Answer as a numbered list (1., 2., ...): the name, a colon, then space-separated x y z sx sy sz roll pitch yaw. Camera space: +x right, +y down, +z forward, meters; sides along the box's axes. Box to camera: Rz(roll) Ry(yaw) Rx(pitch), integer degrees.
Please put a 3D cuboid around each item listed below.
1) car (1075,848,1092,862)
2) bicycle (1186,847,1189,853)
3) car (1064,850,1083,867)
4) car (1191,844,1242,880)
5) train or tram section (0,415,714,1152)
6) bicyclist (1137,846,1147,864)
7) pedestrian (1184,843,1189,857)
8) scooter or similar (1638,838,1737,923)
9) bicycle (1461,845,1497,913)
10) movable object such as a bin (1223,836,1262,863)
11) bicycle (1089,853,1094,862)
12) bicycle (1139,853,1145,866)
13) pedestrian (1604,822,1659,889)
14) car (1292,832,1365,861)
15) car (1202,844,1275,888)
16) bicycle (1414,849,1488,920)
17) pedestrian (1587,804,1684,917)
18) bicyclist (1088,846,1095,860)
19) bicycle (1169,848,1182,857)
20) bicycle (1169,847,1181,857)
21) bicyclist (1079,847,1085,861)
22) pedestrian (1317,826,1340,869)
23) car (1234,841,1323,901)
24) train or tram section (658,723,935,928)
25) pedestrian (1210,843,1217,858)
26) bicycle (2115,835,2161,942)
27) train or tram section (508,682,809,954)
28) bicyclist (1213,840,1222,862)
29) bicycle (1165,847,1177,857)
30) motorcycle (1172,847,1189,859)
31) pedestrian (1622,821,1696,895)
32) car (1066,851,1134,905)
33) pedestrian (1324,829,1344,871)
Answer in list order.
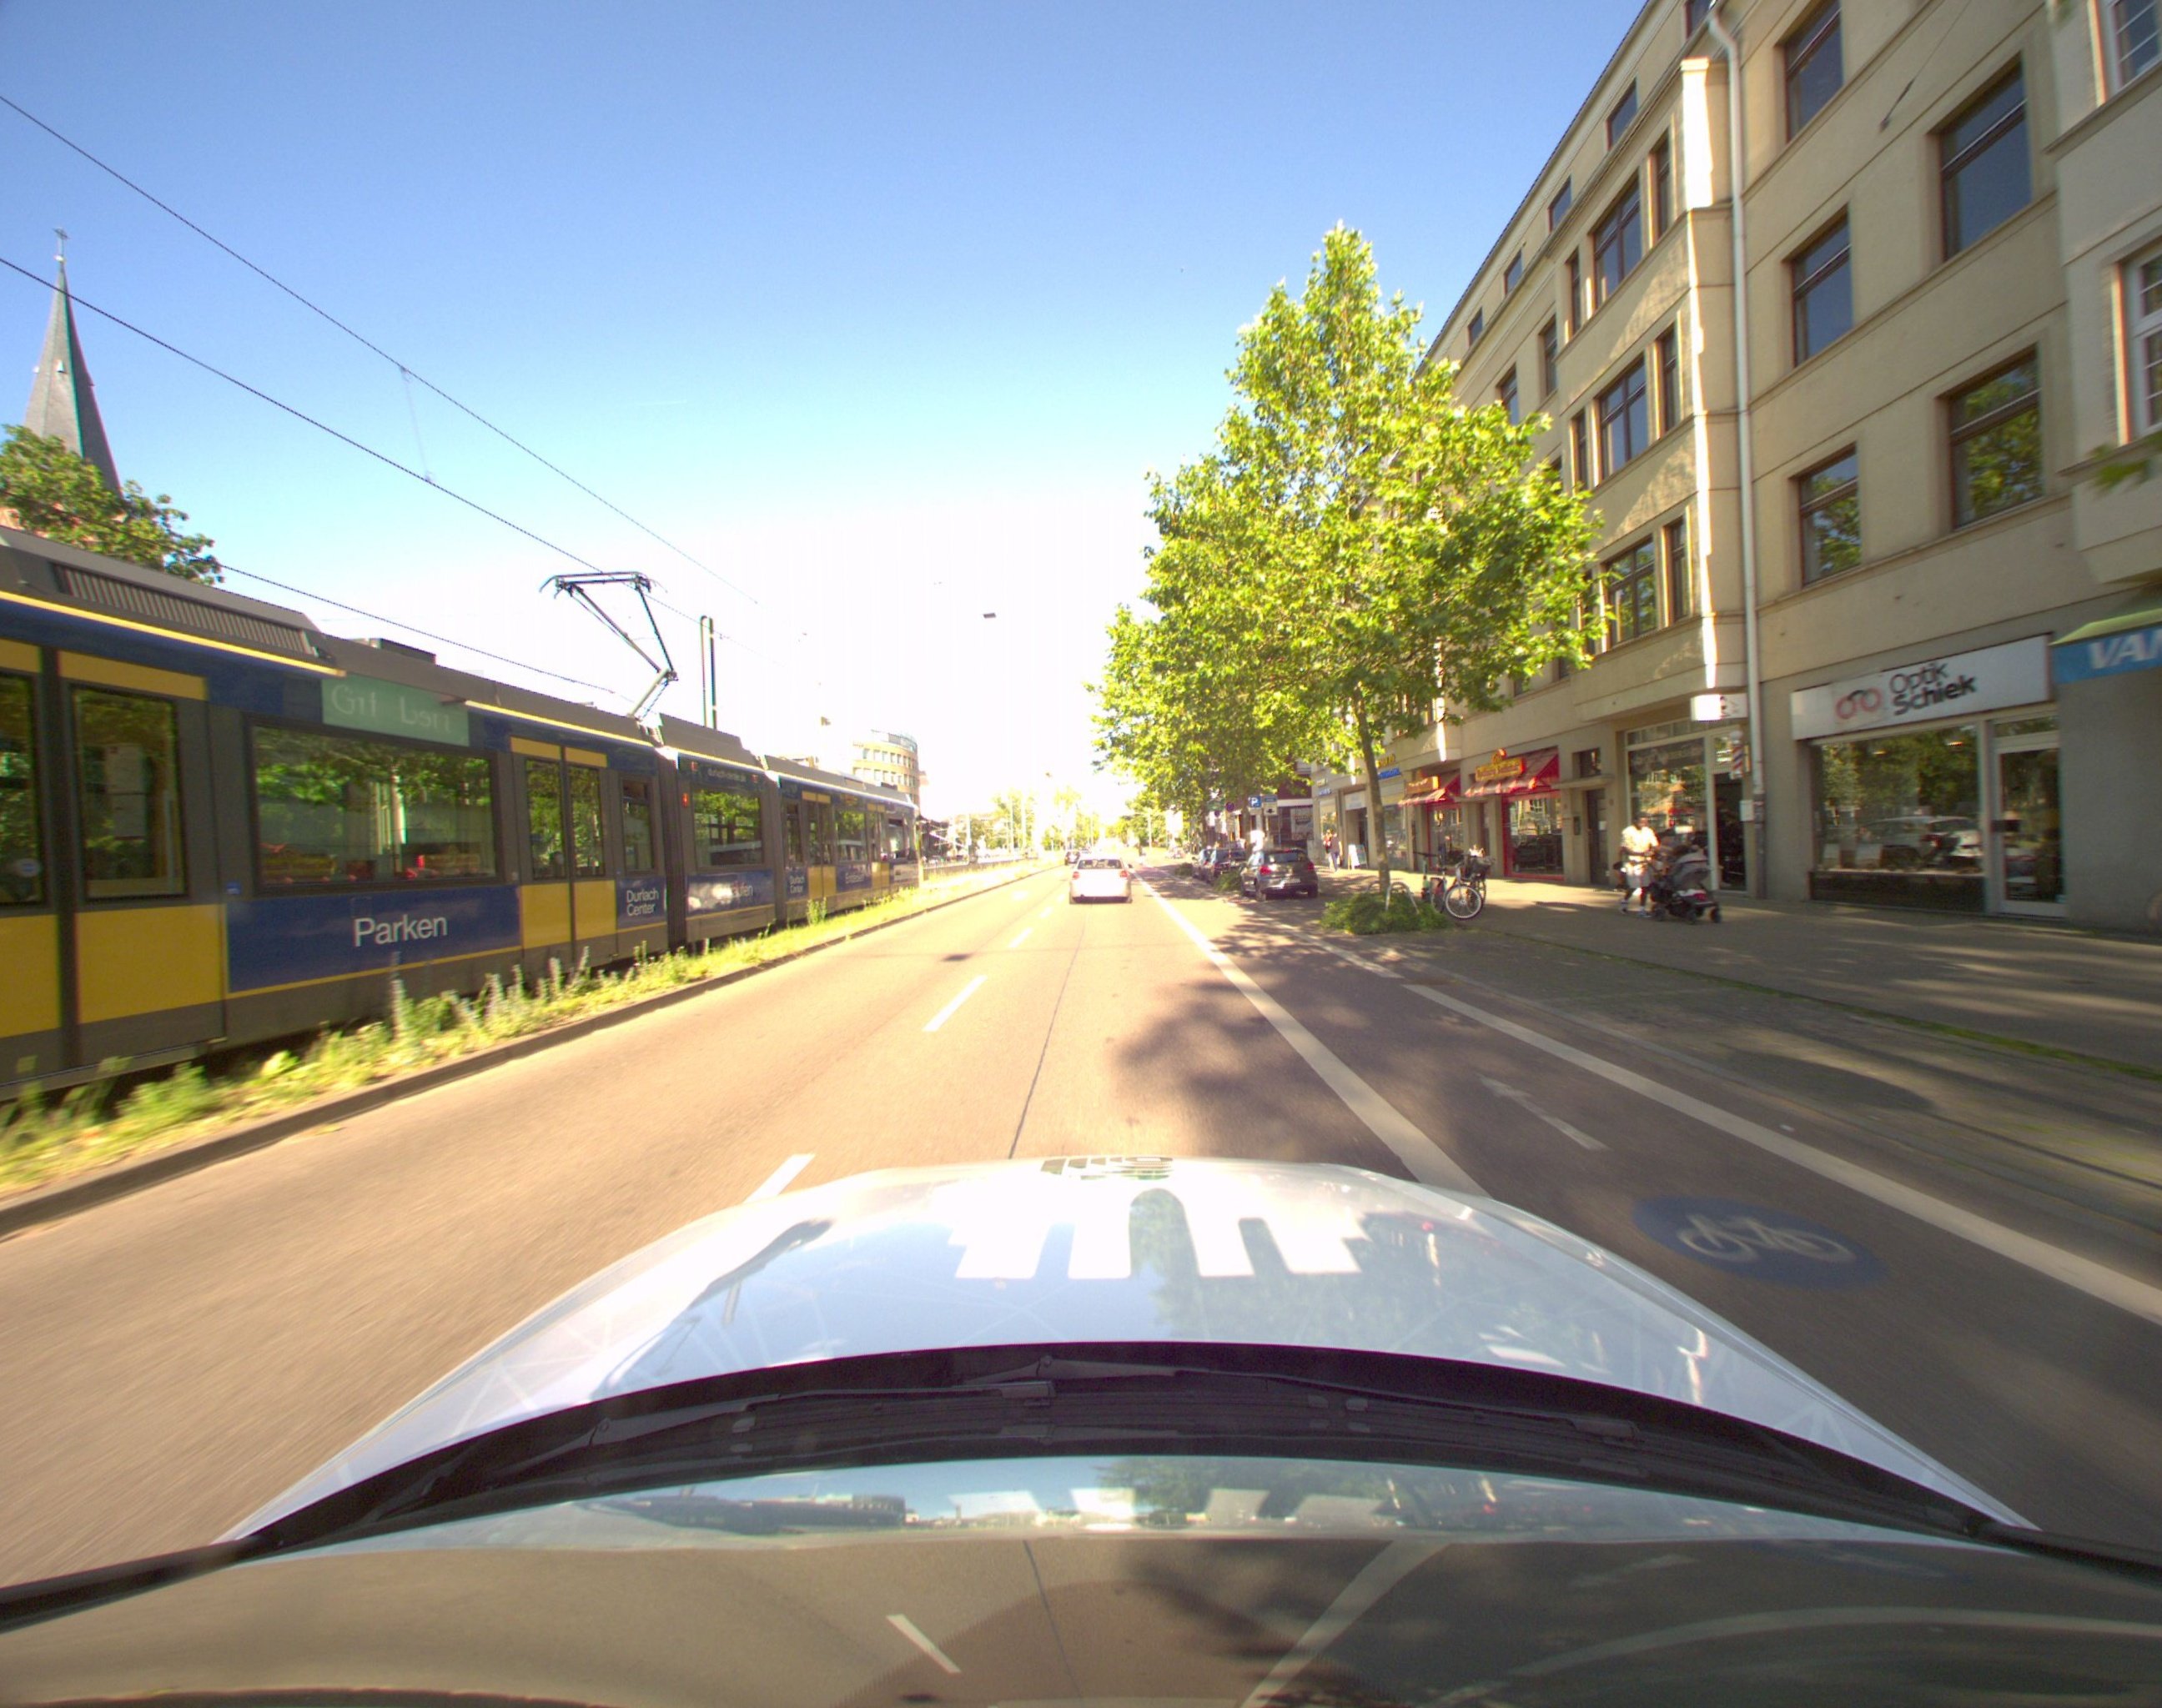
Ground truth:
1. car: 0.304 0.119 87.734 1.638 1.421 4.002 -1 0 2
2. bicycle: 19.391 -0.677 148.020 0.415 1.008 1.945 -1 0 1
3. car: -0.706 0.424 79.613 1.721 1.470 4.409 -2 0 -1
4. car: 6.426 0.350 39.048 1.782 1.555 4.438 -2 0 2
5. train or tram section: -7.029 -0.355 4.637 2.917 3.812 14.280 -1 0 2
6. bicyclist: 5.496 0.081 73.239 0.782 1.531 0.895 -1 0 2
7. pedestrian: 15.815 -0.559 121.997 0.786 2.013 0.872 -1 0 9
8. scooter or similar: 8.984 0.376 12.094 0.742 1.171 0.849 -5 0 -1
9. bicycle: 7.715 0.454 15.821 0.382 1.207 1.883 -3 0 20
10. movable object such as a bin: 11.960 -0.353 60.497 1.941 1.843 3.476 -3 1 -4
11. bicycle: 1.175 0.406 93.217 0.338 1.056 1.774 -2 0 -8
12. bicycle: 5.476 0.488 73.137 0.497 1.088 1.998 -1 0 2
13. pedestrian: 11.377 0.027 16.859 0.533 1.332 0.821 -3 0 2
14. car: 16.580 -0.486 54.710 4.283 1.788 1.996 -2 -1 1
15. car: 5.976 0.396 31.392 2.031 1.509 4.596 -2 1 2
16. bicycle: 6.905 0.551 15.286 0.391 1.215 1.901 -4 -1 -2
17. pedestrian: 8.911 0.097 13.136 0.856 1.704 0.916 -3 0 -1
18. bicyclist: 1.158 -0.062 93.246 0.616 1.571 0.684 -2 0 -10
19. bicycle: 11.167 -0.193 96.542 1.458 1.067 0.257 -3 0 3
20. bicycle: 11.182 -0.204 96.914 1.458 1.067 0.257 -3 0 3
21. bicyclist: 0.080 0.029 93.081 0.614 1.571 0.687 -1 0 3
22. pedestrian: 11.478 -0.303 37.765 0.711 1.900 0.864 -3 0 2
23. car: 5.658 0.430 23.803 1.688 1.502 3.803 -5 1 2
24. train or tram section: -6.438 -0.560 21.037 2.941 3.897 10.808 -1 0 2
25. pedestrian: 13.818 -0.338 84.768 0.570 1.582 0.557 -2 0 2
26. bicycle: 10.890 0.341 7.066 0.488 1.024 2.624 -5 0 2
27. train or tram section: -6.745 -0.529 13.694 2.945 3.897 3.866 -1 0 1
28. bicyclist: 10.686 -0.205 63.765 0.597 1.690 0.599 -3 0 12
29. bicycle: 11.243 -0.253 101.952 1.458 1.067 0.257 -3 0 3
30. motorcycle: 11.236 -0.112 92.435 1.846 1.300 0.653 -2 0 5
31. pedestrian: 11.322 0.076 15.976 0.782 1.369 0.857 -3 0 2
32. car: 0.573 0.654 24.364 1.791 1.415 4.001 -2 0 1
33. pedestrian: 10.546 -0.172 33.977 0.556 1.711 0.770 -2 0 2
